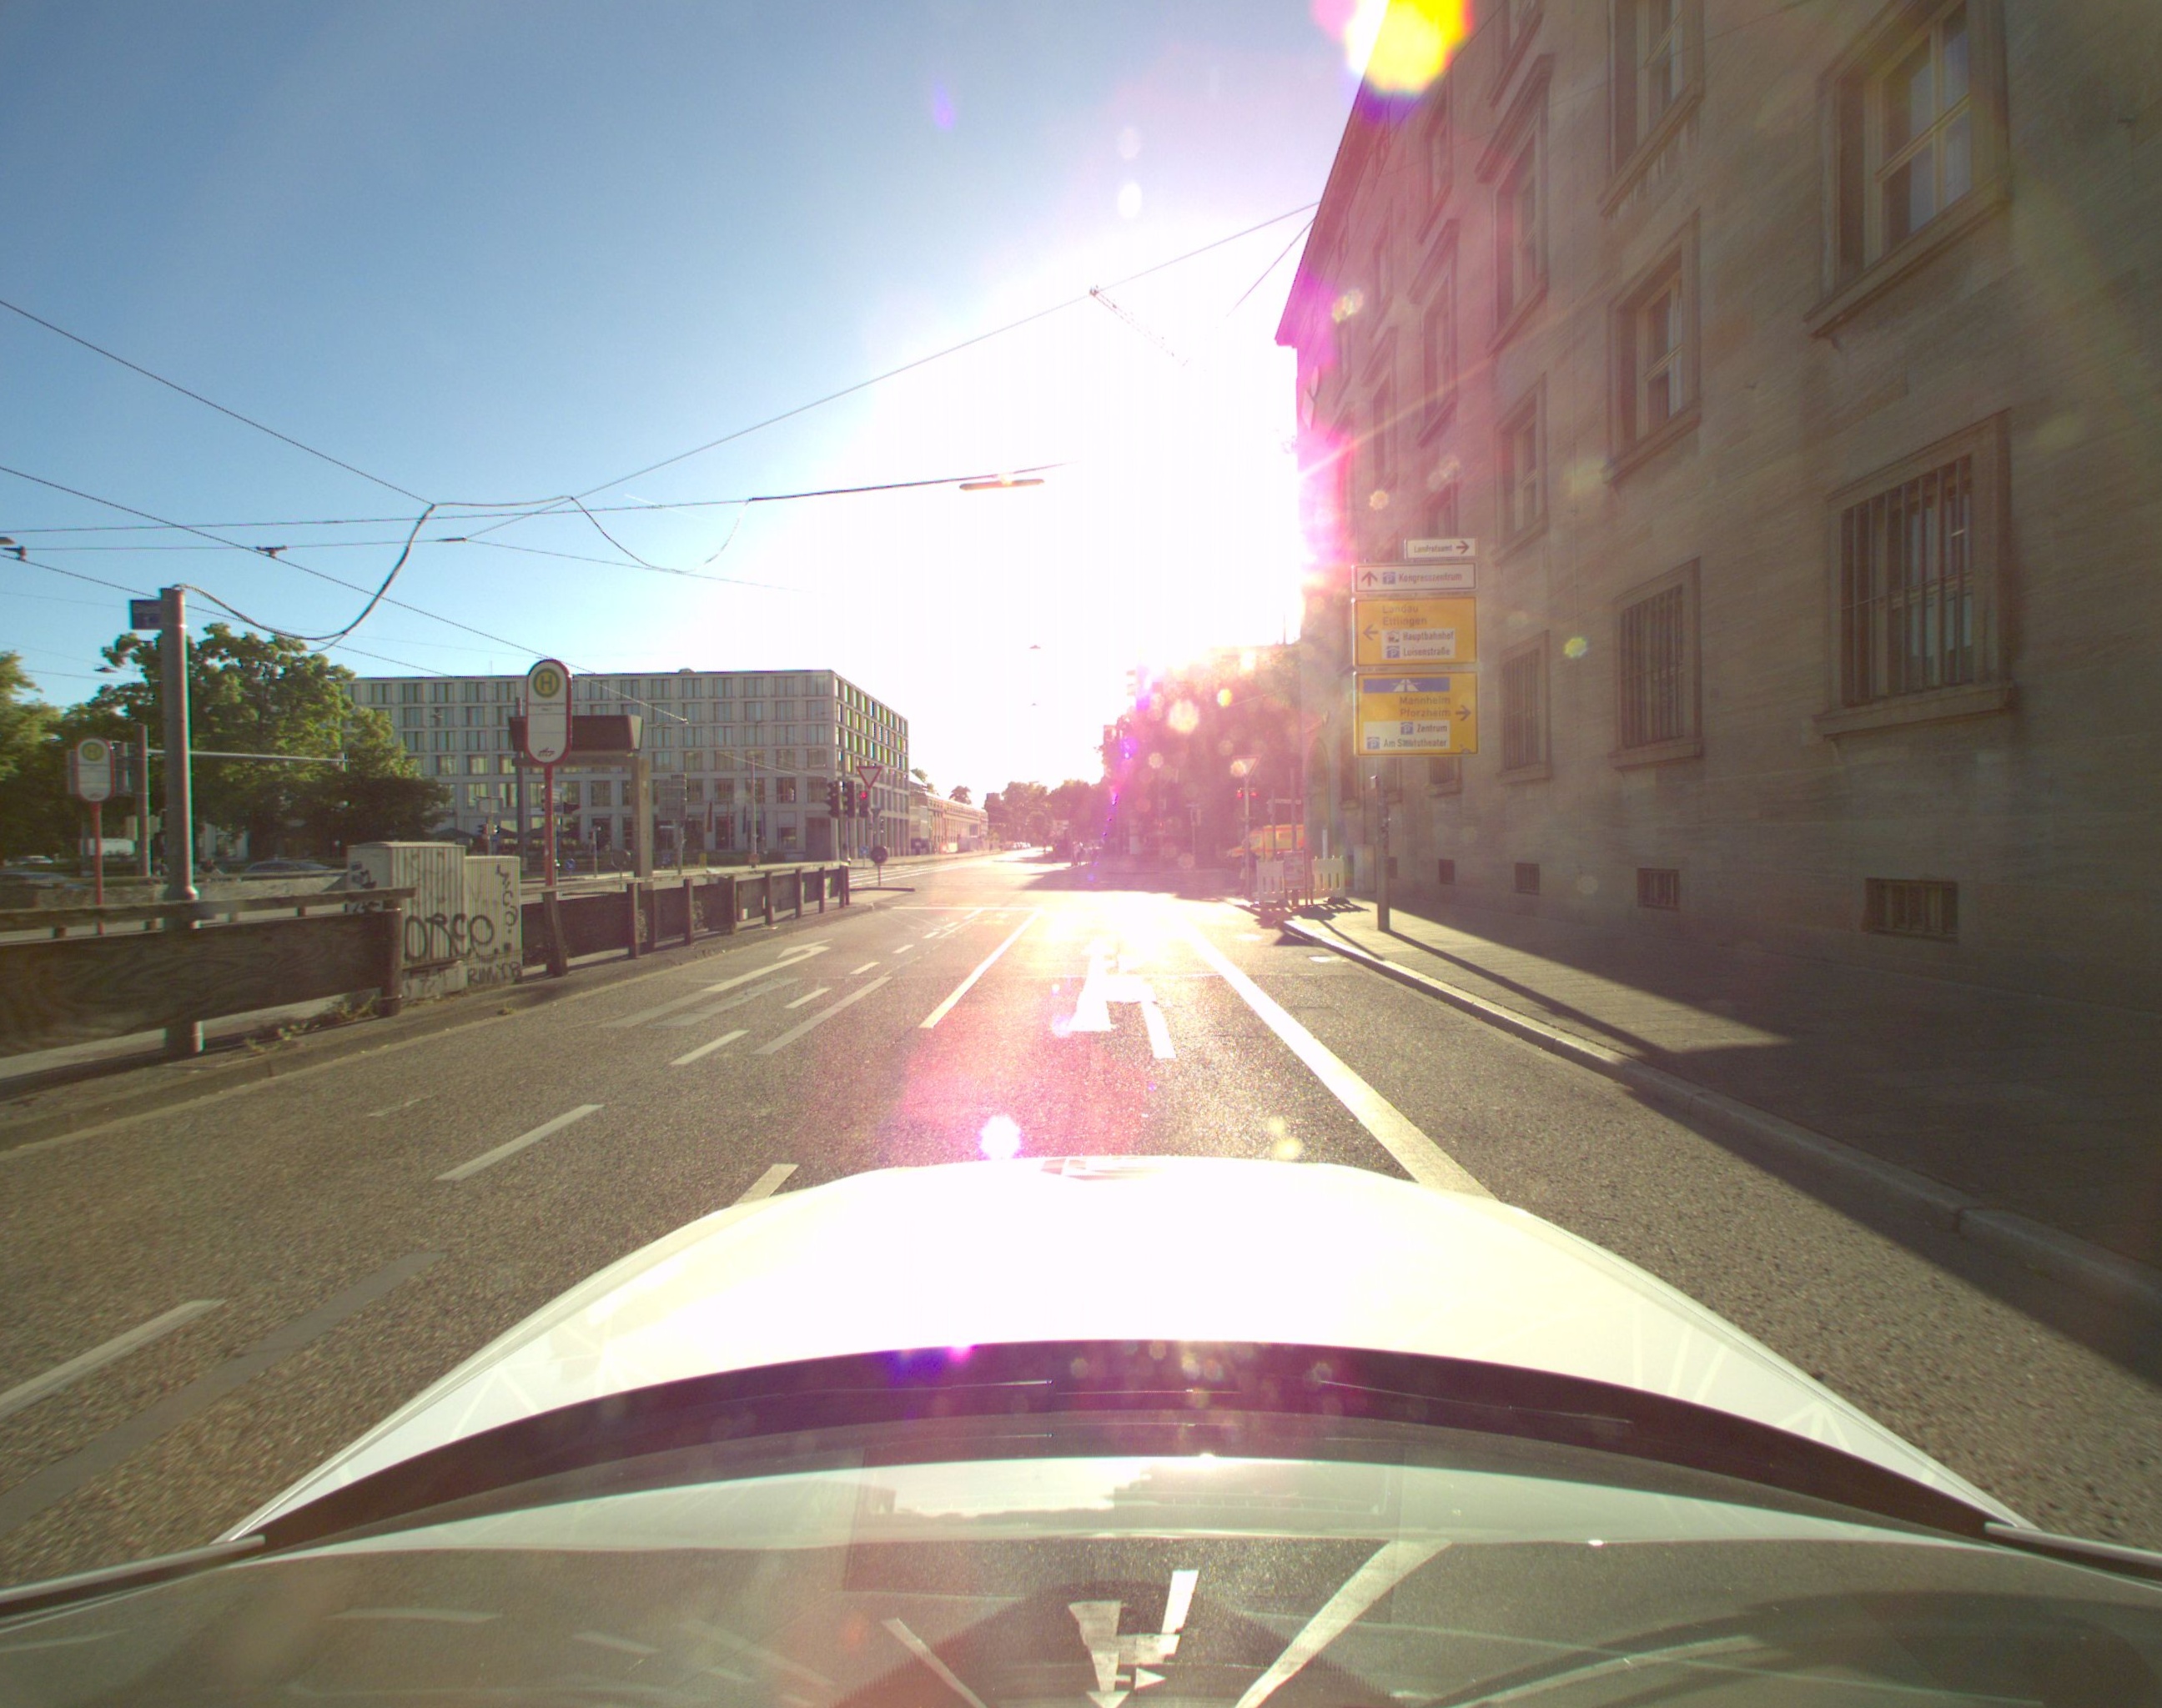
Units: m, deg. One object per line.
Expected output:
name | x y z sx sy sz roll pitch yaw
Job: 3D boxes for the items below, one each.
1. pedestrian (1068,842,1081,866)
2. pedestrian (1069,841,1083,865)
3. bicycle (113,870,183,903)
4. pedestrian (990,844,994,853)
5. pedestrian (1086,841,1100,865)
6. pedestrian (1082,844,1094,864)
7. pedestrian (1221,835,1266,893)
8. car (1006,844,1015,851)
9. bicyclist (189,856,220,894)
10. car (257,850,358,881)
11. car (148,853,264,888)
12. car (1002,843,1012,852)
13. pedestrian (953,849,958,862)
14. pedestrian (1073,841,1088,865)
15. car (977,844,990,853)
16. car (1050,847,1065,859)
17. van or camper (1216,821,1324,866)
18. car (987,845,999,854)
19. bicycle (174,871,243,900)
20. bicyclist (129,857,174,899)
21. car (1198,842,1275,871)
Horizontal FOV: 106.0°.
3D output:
pedestrian | -0.494 0.007 63.105 0.849 1.784 0.776 -1 0 -15
pedestrian | -0.402 -0.092 62.272 0.849 1.784 0.776 -1 0 -15
bicycle | -38.696 1.340 33.799 2.037 1.288 0.888 -1 0 6
pedestrian | -14.472 -0.948 132.179 0.522 1.484 0.437 1 -1 0
pedestrian | 0.908 -0.101 61.959 0.849 1.784 0.776 -1 0 -15
pedestrian | 0.559 0.010 62.644 0.763 1.558 0.585 -1 0 -15
pedestrian | 4.955 0.291 24.855 1.039 1.721 1.032 -1 0 -10
car | -15.214 -1.463 176.286 1.604 1.498 3.807 -1 0 1
bicyclist | -36.634 0.869 34.045 0.617 1.582 0.593 -1 0 -3
car | -38.702 0.545 40.813 3.520 1.506 1.522 0 0 -1
car | -39.363 0.731 36.701 3.520 1.506 1.522 0 0 -1
car | -15.657 -1.401 172.299 1.813 1.712 3.807 -1 0 1
pedestrian | -13.252 0.152 86.041 0.509 1.329 0.369 -1 0 3
pedestrian | -0.052 -0.069 60.789 0.967 1.784 0.776 -1 0 -15
car | -17.905 -0.995 149.610 1.813 1.712 3.807 -1 0 1
car | -2.821 -0.104 98.355 1.678 1.501 3.510 1 0 1
van or camper | 12.446 -0.671 54.136 6.675 2.861 2.915 1 -1 6
car | -17.414 -0.802 160.577 1.813 1.712 3.807 -1 0 1
bicycle | -36.502 1.321 34.083 1.918 1.122 0.789 -1 0 -3
bicyclist | -38.566 0.977 33.790 0.885 1.694 0.846 -1 0 7
car | 9.228 0.136 48.508 4.298 1.647 1.889 1 -1 2
